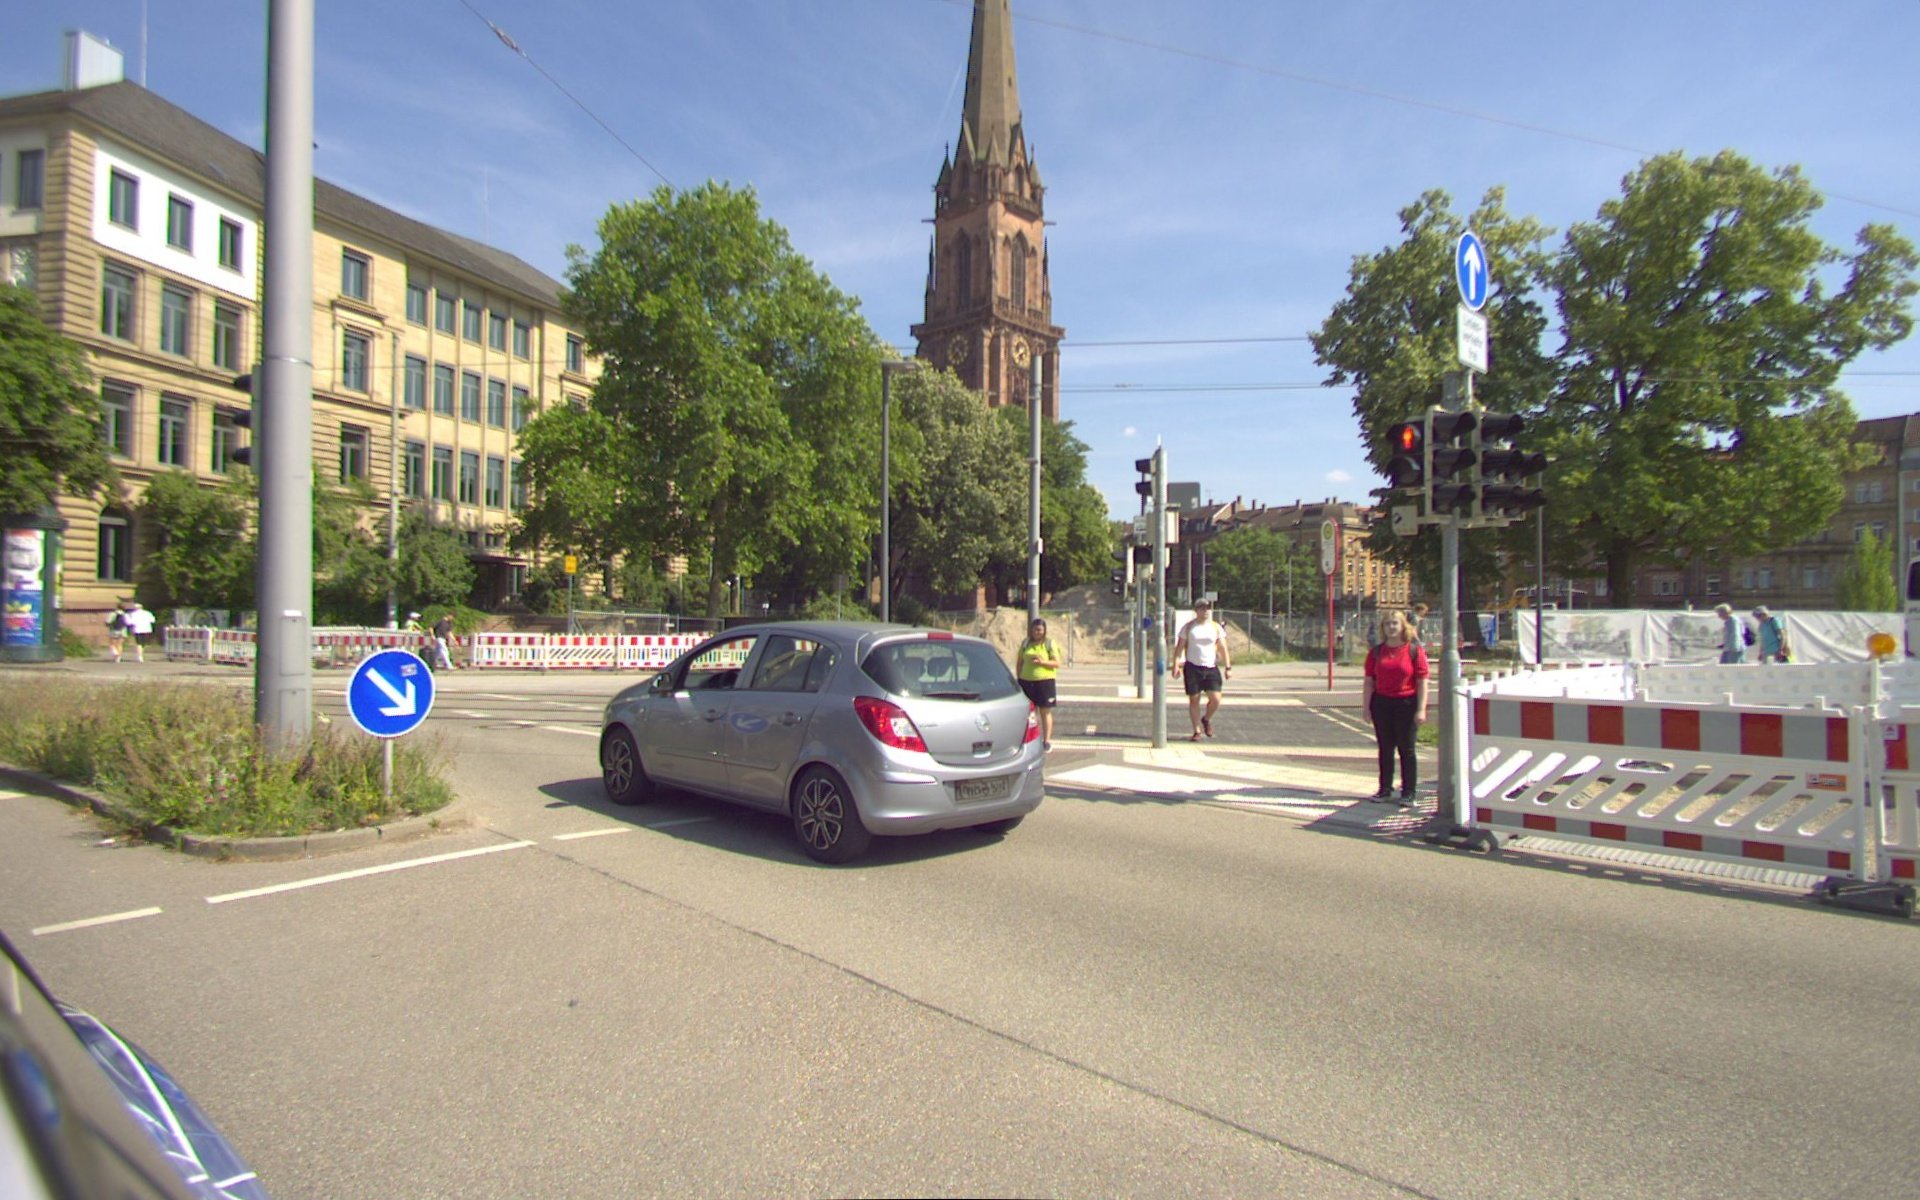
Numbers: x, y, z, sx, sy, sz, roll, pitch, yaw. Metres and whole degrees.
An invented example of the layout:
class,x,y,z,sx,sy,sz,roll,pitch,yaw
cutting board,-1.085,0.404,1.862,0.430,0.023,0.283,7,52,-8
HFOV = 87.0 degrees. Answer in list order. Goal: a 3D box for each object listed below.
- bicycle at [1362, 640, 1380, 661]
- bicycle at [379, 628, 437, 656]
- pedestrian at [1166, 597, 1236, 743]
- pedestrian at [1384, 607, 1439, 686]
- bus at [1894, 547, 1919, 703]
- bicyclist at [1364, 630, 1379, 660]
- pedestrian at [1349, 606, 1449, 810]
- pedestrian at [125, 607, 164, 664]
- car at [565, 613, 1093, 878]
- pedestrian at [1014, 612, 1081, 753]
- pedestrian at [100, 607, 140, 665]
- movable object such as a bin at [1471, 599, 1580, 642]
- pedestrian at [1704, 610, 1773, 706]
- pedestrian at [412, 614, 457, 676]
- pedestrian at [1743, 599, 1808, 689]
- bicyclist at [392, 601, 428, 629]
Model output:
class,x,y,z,sx,sy,sz,roll,pitch,yaw
bicycle,19.051,2.343,46.869,0.757,0.930,2.054,0,-2,23
bicycle,-19.237,1.462,35.295,1.645,0.954,0.700,0,-2,5
pedestrian,3.116,0.885,13.071,0.833,1.826,0.646,-1,-2,15
pedestrian,9.983,1.021,22.384,0.922,1.726,0.558,0,-2,-2
bus,27.712,0.552,21.065,12.516,3.516,2.854,0,-2,10
bicyclist,19.140,2.065,47.064,0.616,1.370,1.164,0,-2,23
pedestrian,3.656,0.869,8.444,0.345,1.628,0.687,2,-2,-45
pedestrian,-25.719,1.114,31.928,0.732,1.763,0.586,1,-2,-13
car,-1.165,0.850,7.503,4.002,1.422,1.773,-1,-4,45
pedestrian,1.001,0.926,11.503,0.661,1.555,0.421,-2,1,14
pedestrian,-25.928,1.101,31.251,0.733,1.763,0.586,1,-2,-11
movable object such as a bin,40.871,1.486,73.222,6.547,3.032,2.549,-1,-2,39
pedestrian,13.652,1.001,17.753,0.652,1.628,0.795,1,-2,-40
pedestrian,-14.559,1.243,28.037,0.925,1.668,0.846,2,-2,-38
pedestrian,15.019,0.796,18.652,0.577,1.628,0.690,0,-2,-3
bicyclist,-19.183,0.527,35.315,0.858,0.934,0.682,0,-1,5
